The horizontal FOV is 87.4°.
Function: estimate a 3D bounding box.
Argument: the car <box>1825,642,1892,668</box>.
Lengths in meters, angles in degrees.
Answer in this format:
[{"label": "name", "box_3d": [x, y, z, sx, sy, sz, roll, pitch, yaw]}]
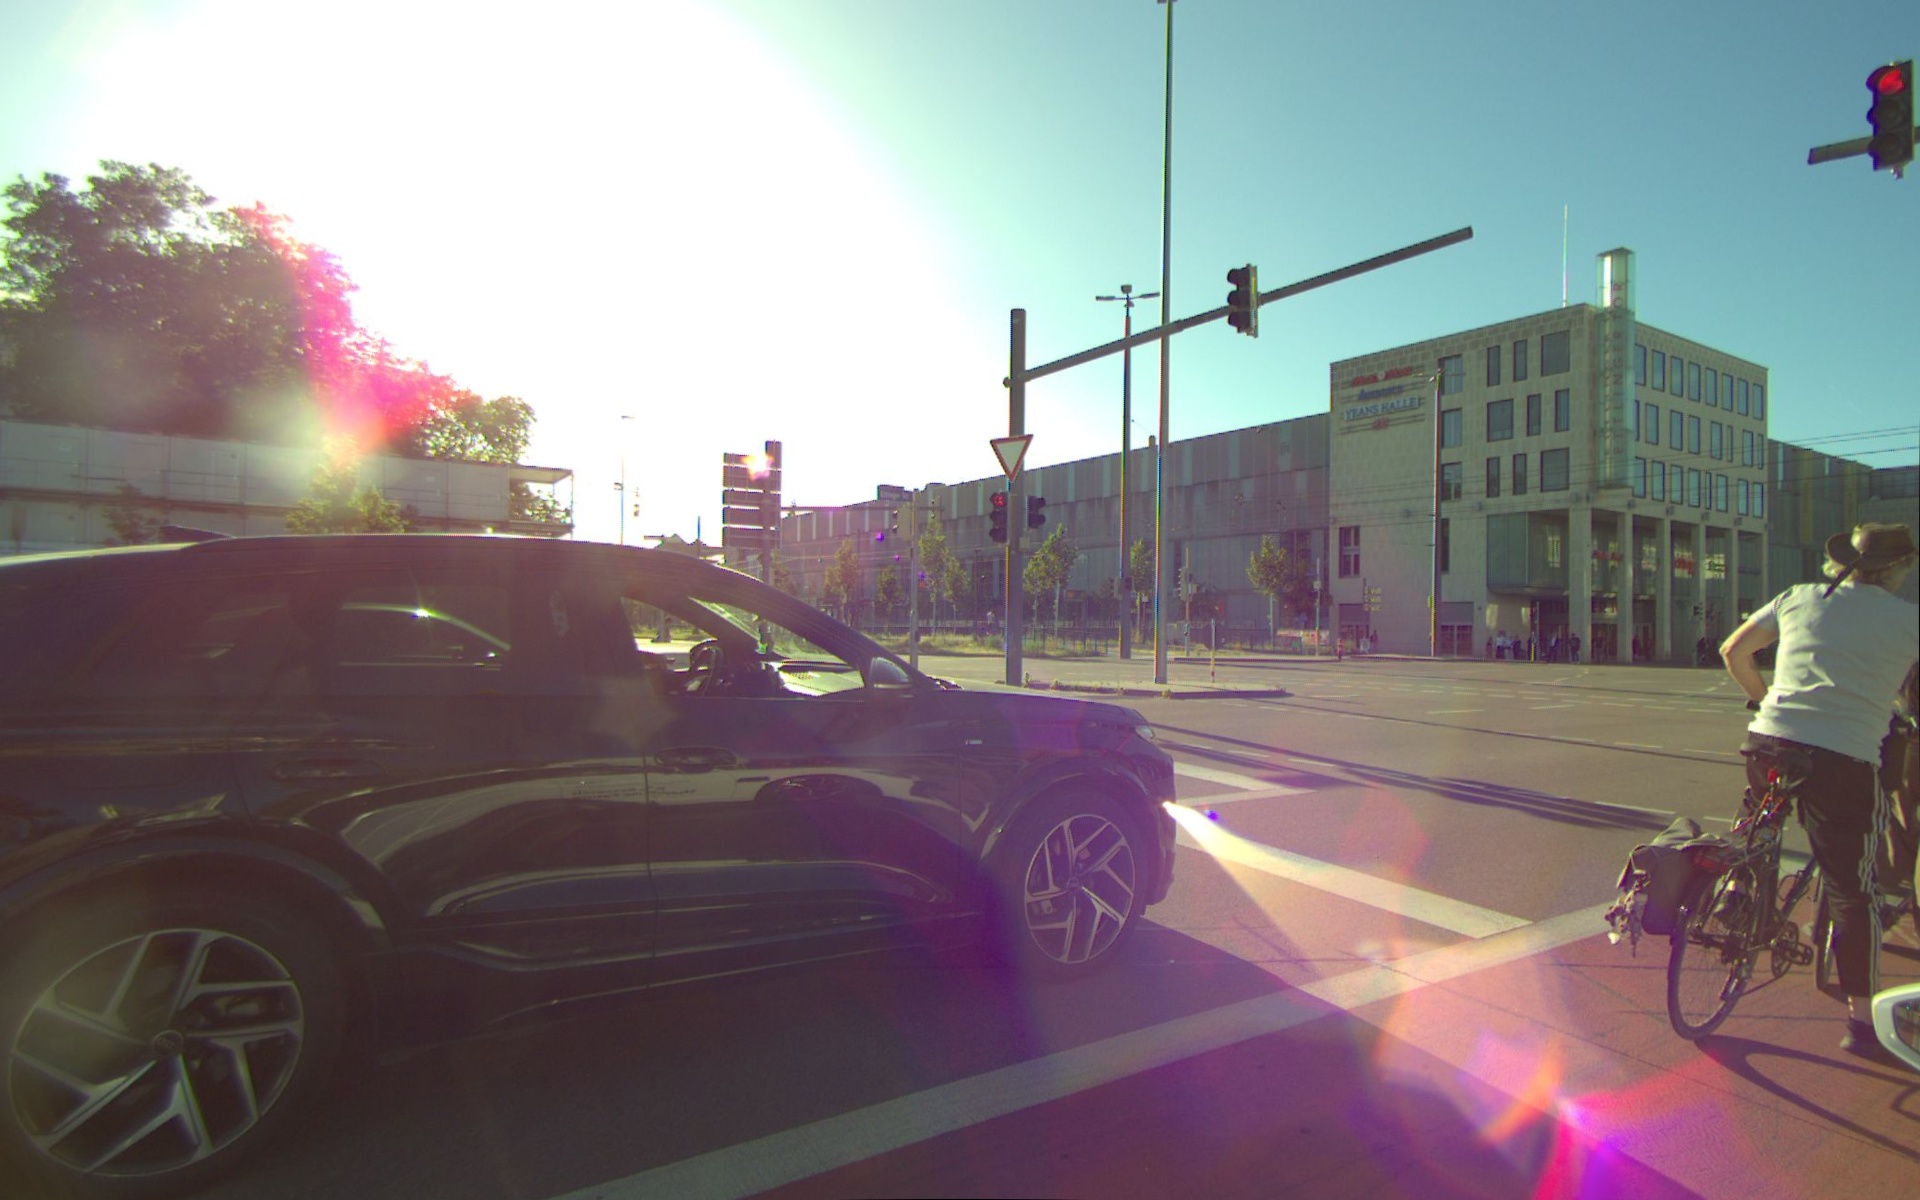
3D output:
[{"label": "car", "box_3d": [49.655, 3.004, 55.507, 3.975, 1.375, 1.668, 1, -1, -31]}]

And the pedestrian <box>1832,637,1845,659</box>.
[{"label": "pedestrian", "box_3d": [70.248, 3.829, 80.342, 0.615, 1.752, 0.472, 2, 0, 4]}]

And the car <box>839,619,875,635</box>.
[{"label": "car", "box_3d": [-11.418, 2.997, 111.148, 1.807, 1.706, 4.813, 1, -2, -35]}]

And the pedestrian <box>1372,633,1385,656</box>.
[{"label": "pedestrian", "box_3d": [28.781, 3.051, 69.075, 0.622, 1.562, 0.589, 1, -1, -30]}]

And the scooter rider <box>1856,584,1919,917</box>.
[{"label": "scooter rider", "box_3d": [4.677, 0.703, 4.778, 0.445, 1.550, 0.548, 1, -1, -38]}]

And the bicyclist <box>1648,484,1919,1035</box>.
[{"label": "bicyclist", "box_3d": [3.182, 0.511, 3.691, 0.842, 1.723, 0.802, 1, -1, -30]}]

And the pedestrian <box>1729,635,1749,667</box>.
[{"label": "pedestrian", "box_3d": [43.179, 2.820, 55.665, 0.612, 1.710, 0.697, 1, -1, -29]}]

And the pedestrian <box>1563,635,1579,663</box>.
[{"label": "pedestrian", "box_3d": [35.653, 2.853, 58.584, 0.622, 1.667, 0.589, 1, -1, -30]}]

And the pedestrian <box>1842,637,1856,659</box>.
[{"label": "pedestrian", "box_3d": [71.097, 3.854, 80.308, 0.681, 1.752, 0.472, 2, 0, 9]}]

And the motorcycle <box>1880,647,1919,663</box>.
[{"label": "motorcycle", "box_3d": [70.358, 4.100, 74.767, 1.106, 1.006, 2.582, 2, 0, -38]}]

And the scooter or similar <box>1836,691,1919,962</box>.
[{"label": "scooter or similar", "box_3d": [4.375, 1.011, 4.708, 0.832, 1.122, 0.303, 2, -1, -42]}]

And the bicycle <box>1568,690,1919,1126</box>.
[{"label": "bicycle", "box_3d": [3.129, 0.959, 3.699, 1.868, 1.162, 0.735, 1, -1, -30]}]

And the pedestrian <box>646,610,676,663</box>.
[{"label": "pedestrian", "box_3d": [-9.452, 1.160, 31.767, 0.736, 1.632, 0.716, 2, 0, -5]}]

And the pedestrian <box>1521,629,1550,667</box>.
[{"label": "pedestrian", "box_3d": [26.175, 2.188, 45.695, 0.994, 1.697, 0.818, 1, -1, -33]}]

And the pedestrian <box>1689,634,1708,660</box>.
[{"label": "pedestrian", "box_3d": [47.790, 3.070, 65.025, 0.615, 1.660, 0.777, 1, -1, -15]}]

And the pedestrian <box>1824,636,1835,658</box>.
[{"label": "pedestrian", "box_3d": [70.980, 3.859, 81.983, 0.510, 1.752, 0.472, 2, 0, 9]}]

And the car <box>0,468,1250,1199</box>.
[{"label": "car", "box_3d": [-1.267, 0.599, 4.053, 4.613, 1.729, 2.154, 1, 0, -32]}]

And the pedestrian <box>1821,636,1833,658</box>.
[{"label": "pedestrian", "box_3d": [71.348, 3.842, 82.647, 0.510, 1.752, 0.472, 2, 0, 9]}]

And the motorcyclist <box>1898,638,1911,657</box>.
[{"label": "motorcyclist", "box_3d": [70.458, 3.555, 74.937, 0.657, 1.424, 0.623, 2, 0, -38]}]

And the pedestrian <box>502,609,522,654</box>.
[{"label": "pedestrian", "box_3d": [-16.507, 1.157, 37.034, 0.565, 1.632, 0.564, 2, 0, -16]}]

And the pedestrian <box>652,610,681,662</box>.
[{"label": "pedestrian", "box_3d": [-9.502, 1.162, 32.547, 0.736, 1.632, 0.716, 2, 0, -5]}]

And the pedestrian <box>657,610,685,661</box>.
[{"label": "pedestrian", "box_3d": [-9.581, 1.164, 33.333, 0.736, 1.632, 0.716, 2, 0, -5]}]
